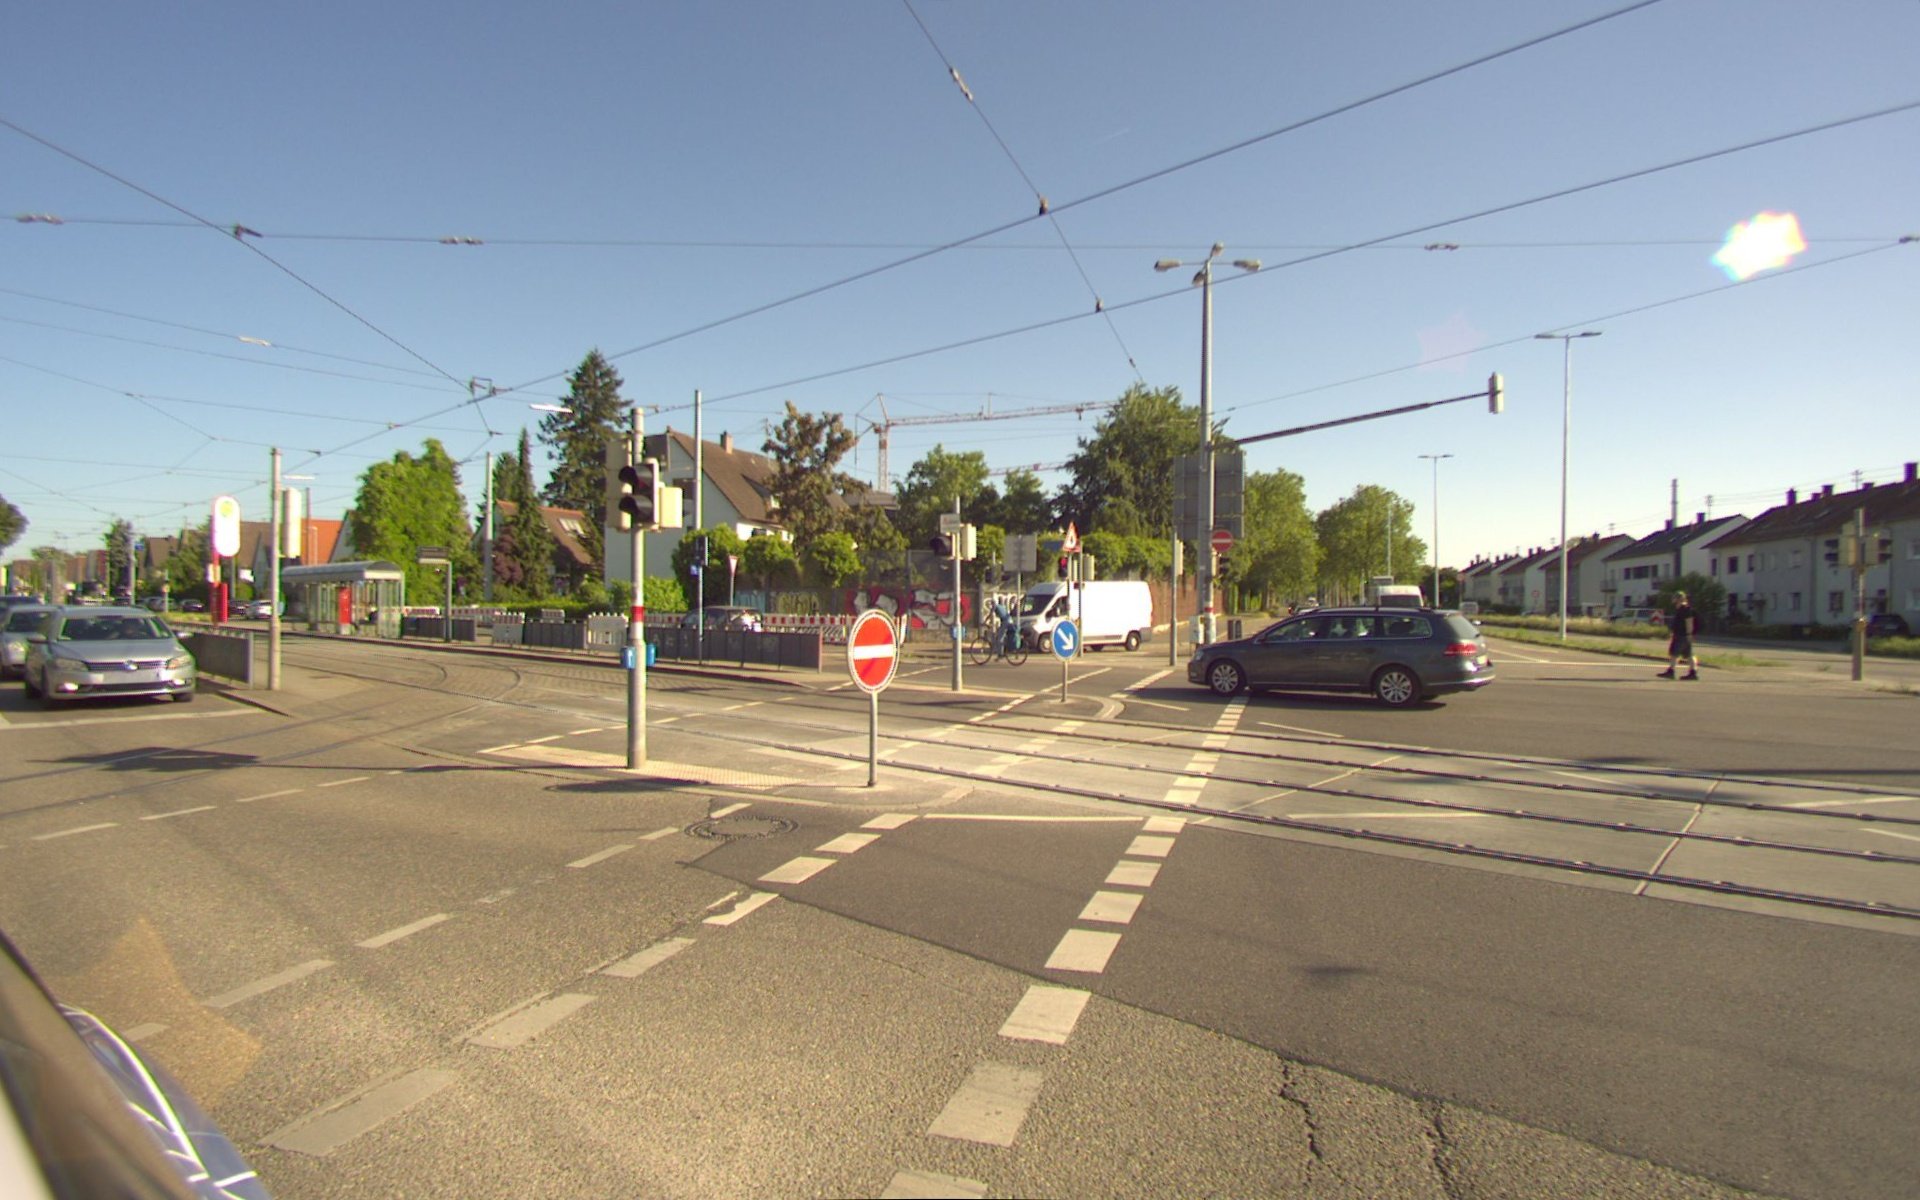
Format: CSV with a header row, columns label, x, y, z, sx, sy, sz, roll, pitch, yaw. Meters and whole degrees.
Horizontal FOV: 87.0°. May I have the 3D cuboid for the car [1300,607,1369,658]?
label,x,y,z,sx,sy,sz,roll,pitch,yaw
car,11.878,0.993,32.338,1.657,1.488,4.613,0,-1,15

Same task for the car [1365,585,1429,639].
label,x,y,z,sx,sy,sz,roll,pitch,yaw
car,20.800,0.562,48.379,2.163,2.429,5.888,0,-1,17

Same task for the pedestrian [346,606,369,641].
label,x,y,z,sx,sy,sz,roll,pitch,yaw
pedestrian,-24.373,0.938,40.957,0.711,1.425,0.615,-1,-1,41

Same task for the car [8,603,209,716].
label,x,y,z,sx,sy,sz,roll,pitch,yaw
car,-13.535,0.832,15.997,4.420,1.539,1.857,0,-1,42

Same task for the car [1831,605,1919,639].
label,x,y,z,sx,sy,sz,roll,pitch,yaw
car,49.400,1.177,54.724,1.983,1.775,3.978,-1,-1,17

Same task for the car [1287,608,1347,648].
label,x,y,z,sx,sy,sz,roll,pitch,yaw
car,14.072,1.068,40.135,1.920,1.477,4.344,0,-1,15

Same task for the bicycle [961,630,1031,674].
label,x,y,z,sx,sy,sz,roll,pitch,yaw
bicycle,0.902,1.306,25.912,1.949,1.050,0.501,-1,-1,43

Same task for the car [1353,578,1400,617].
label,x,y,z,sx,sy,sz,roll,pitch,yaw
car,22.265,-0.096,54.230,1.791,2.029,3.981,0,-1,15

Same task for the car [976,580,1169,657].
label,x,y,z,sx,sy,sz,roll,pitch,yaw
car,3.999,0.627,35.095,6.756,2.476,2.355,1,-1,-34

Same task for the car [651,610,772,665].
label,x,y,z,sx,sy,sz,roll,pitch,yaw
car,-7.109,1.021,28.770,3.705,1.469,1.664,-1,-1,45

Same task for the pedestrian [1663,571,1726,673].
label,x,y,z,sx,sy,sz,roll,pitch,yaw
pedestrian,14.423,0.425,19.888,0.765,1.963,0.611,0,-1,0

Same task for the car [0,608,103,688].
label,x,y,z,sx,sy,sz,roll,pitch,yaw
car,-18.747,0.910,20.596,3.414,1.479,1.564,-1,0,42

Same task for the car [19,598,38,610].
label,x,y,z,sx,sy,sz,roll,pitch,yaw
car,-151.027,0.672,164.100,4.001,1.785,1.971,0,-1,44

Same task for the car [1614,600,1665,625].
label,x,y,z,sx,sy,sz,roll,pitch,yaw
car,49.654,0.942,74.050,1.983,1.775,3.978,0,-1,16

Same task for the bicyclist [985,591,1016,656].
label,x,y,z,sx,sy,sz,roll,pitch,yaw
bicyclist,1.036,0.601,25.781,0.648,1.620,0.484,-1,-1,43

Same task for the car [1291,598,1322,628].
label,x,y,z,sx,sy,sz,roll,pitch,yaw
car,24.222,0.921,70.848,1.983,2.029,3.977,0,-1,17

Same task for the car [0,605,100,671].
label,x,y,z,sx,sy,sz,roll,pitch,yaw
car,-23.254,0.906,25.544,4.192,1.546,1.732,0,-1,41

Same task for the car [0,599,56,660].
label,x,y,z,sx,sy,sz,roll,pitch,yaw
car,-28.303,0.831,29.963,4.300,1.709,1.861,0,-1,42

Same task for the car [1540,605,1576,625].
label,x,y,z,sx,sy,sz,roll,pitch,yaw
car,56.044,1.392,94.861,1.983,1.775,3.978,0,-1,16

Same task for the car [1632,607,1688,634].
label,x,y,z,sx,sy,sz,roll,pitch,yaw
car,48.074,1.372,69.572,1.983,1.775,3.978,0,-1,16

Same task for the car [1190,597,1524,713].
label,x,y,z,sx,sy,sz,roll,pitch,yaw
car,6.245,0.782,16.242,4.687,1.608,1.795,-1,-1,39
